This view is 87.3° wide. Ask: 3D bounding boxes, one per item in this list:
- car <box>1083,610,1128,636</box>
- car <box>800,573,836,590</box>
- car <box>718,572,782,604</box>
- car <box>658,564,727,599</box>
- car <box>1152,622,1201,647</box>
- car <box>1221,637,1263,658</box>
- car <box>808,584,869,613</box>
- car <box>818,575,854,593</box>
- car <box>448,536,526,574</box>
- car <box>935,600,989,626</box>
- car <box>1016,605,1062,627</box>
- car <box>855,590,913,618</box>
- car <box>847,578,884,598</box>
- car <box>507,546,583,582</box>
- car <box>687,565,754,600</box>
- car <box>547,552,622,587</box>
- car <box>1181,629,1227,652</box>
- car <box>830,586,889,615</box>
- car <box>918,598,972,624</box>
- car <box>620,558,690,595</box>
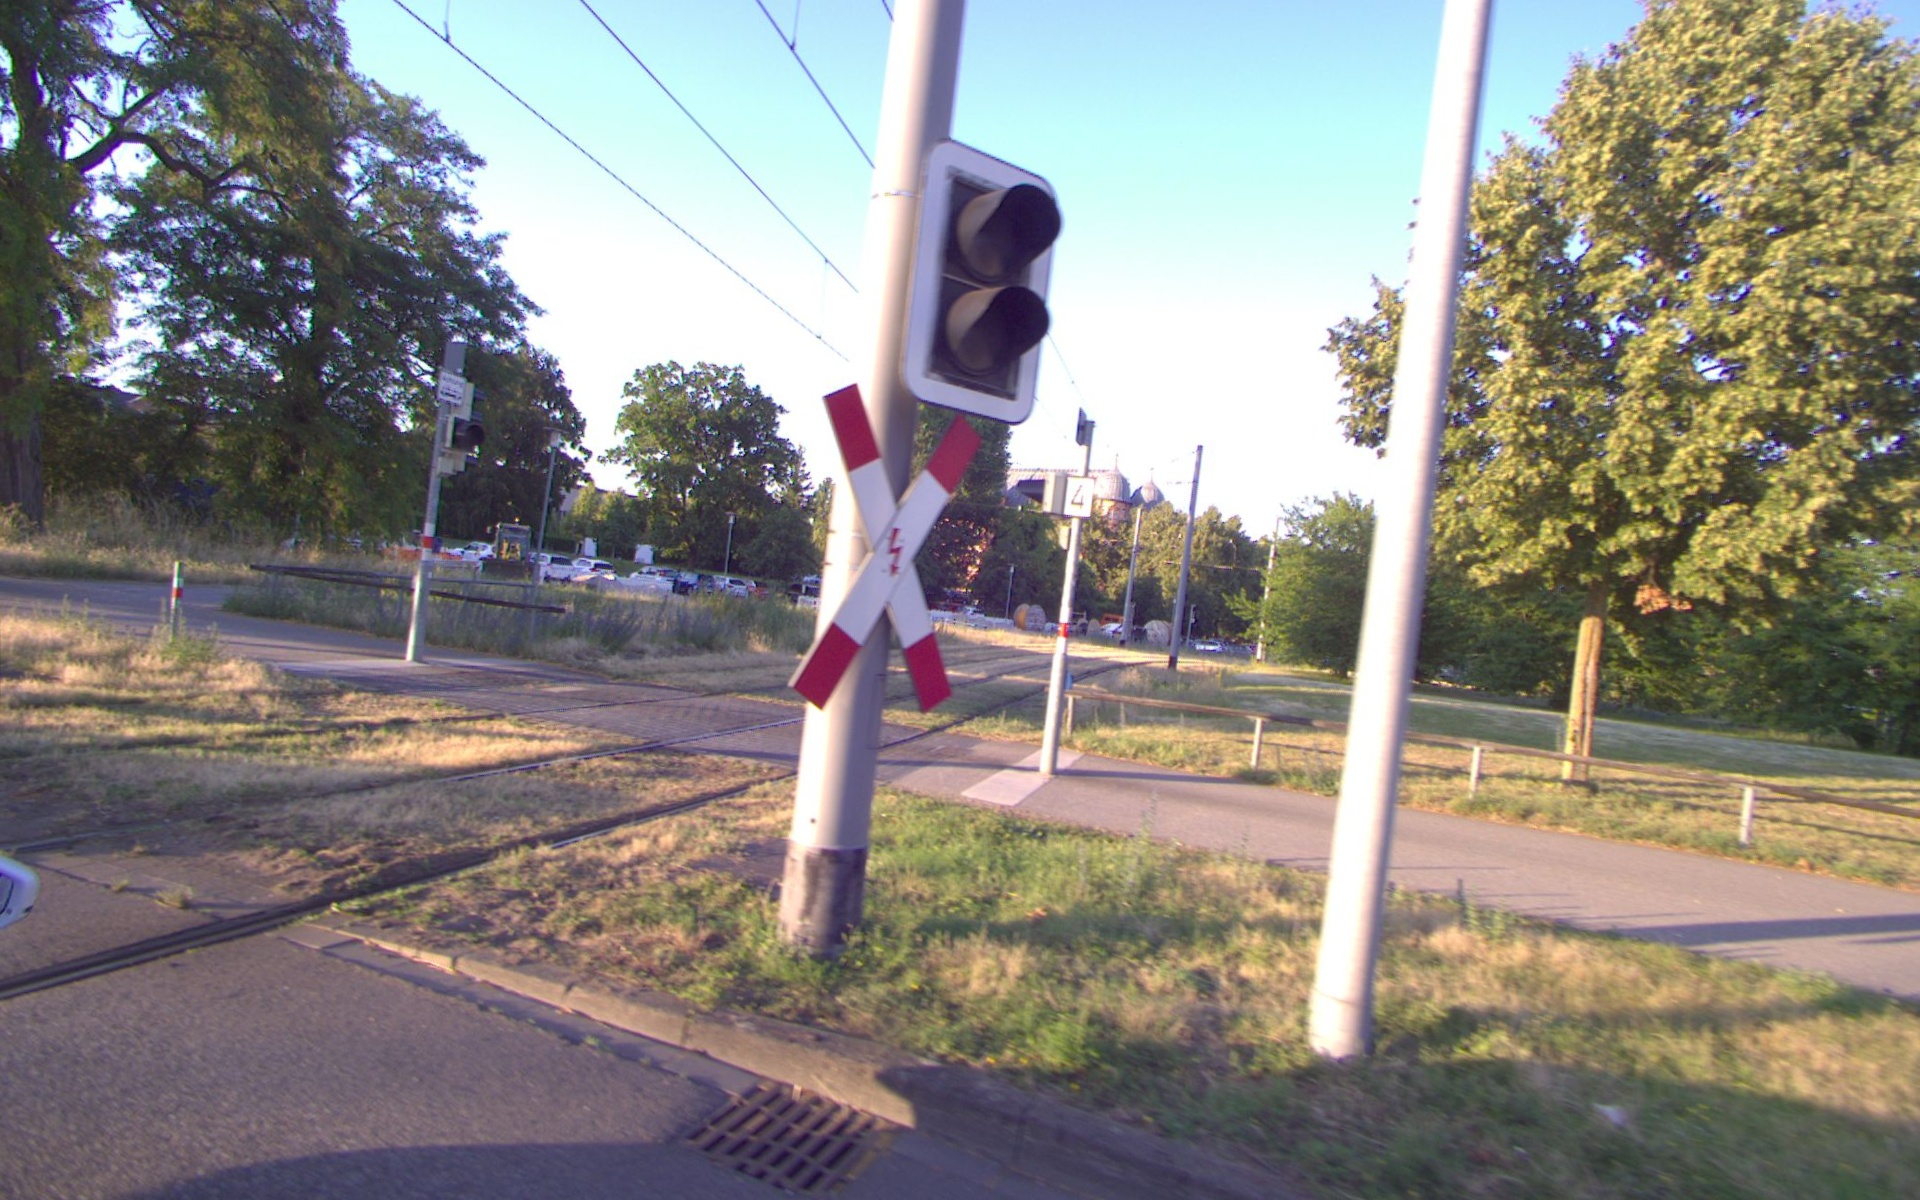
[{"bbox_3d":[14.929,2.321,102.959,3.938,2.121,1.897,7,0,36],"label":"car"},{"bbox_3d":[-17.231,-2.244,121.807,1.876,1.573,3.984,7,0,39],"label":"car"},{"bbox_3d":[-13.898,-0.810,66.527,3.938,1.573,1.897,7,0,36],"label":"car"},{"bbox_3d":[-16.605,-1.140,62.428,3.938,1.682,1.947,7,0,36],"label":"car"},{"bbox_3d":[18.643,2.965,86.679,3.552,1.499,1.708,9,0,33],"label":"car"},{"bbox_3d":[27.968,4.745,99.829,3.552,1.499,1.708,9,0,33],"label":"car"},{"bbox_3d":[-8.686,-0.129,71.837,3.938,1.573,1.897,7,0,36],"label":"car"},{"bbox_3d":[-14.632,-1.850,118.873,1.876,1.573,3.984,7,0,39],"label":"car"},{"bbox_3d":[-24.760,-2.350,52.634,3.938,1.463,1.947,7,0,36],"label":"car"},{"bbox_3d":[0.165,1.051,83.280,3.938,1.573,1.897,7,0,36],"label":"car"},{"bbox_3d":[7.289,1.452,92.821,3.619,1.370,1.796,9,0,33],"label":"car"},{"bbox_3d":[-5.730,0.324,76.019,3.938,1.573,1.897,7,0,36],"label":"car"},{"bbox_3d":[-10.903,-1.397,116.394,1.970,1.766,3.986,9,0,38],"label":"car"},{"bbox_3d":[-22.613,-1.982,54.824,3.938,1.463,1.947,7,0,36],"label":"car"},{"bbox_3d":[-15.259,-1.105,64.099,3.938,1.682,1.947,7,0,36],"label":"car"},{"bbox_3d":[-21.032,-1.733,56.330,3.938,1.463,1.947,7,0,36],"label":"car"},{"bbox_3d":[22.267,3.718,91.865,3.552,1.499,1.708,9,0,33],"label":"car"},{"bbox_3d":[-7.371,0.034,73.598,3.938,1.573,1.897,7,0,36],"label":"car"},{"bbox_3d":[-1.222,0.871,81.257,3.938,1.573,1.897,7,0,36],"label":"car"},{"bbox_3d":[-18.457,-1.435,60.862,3.938,1.682,1.947,7,0,36],"label":"car"}]
